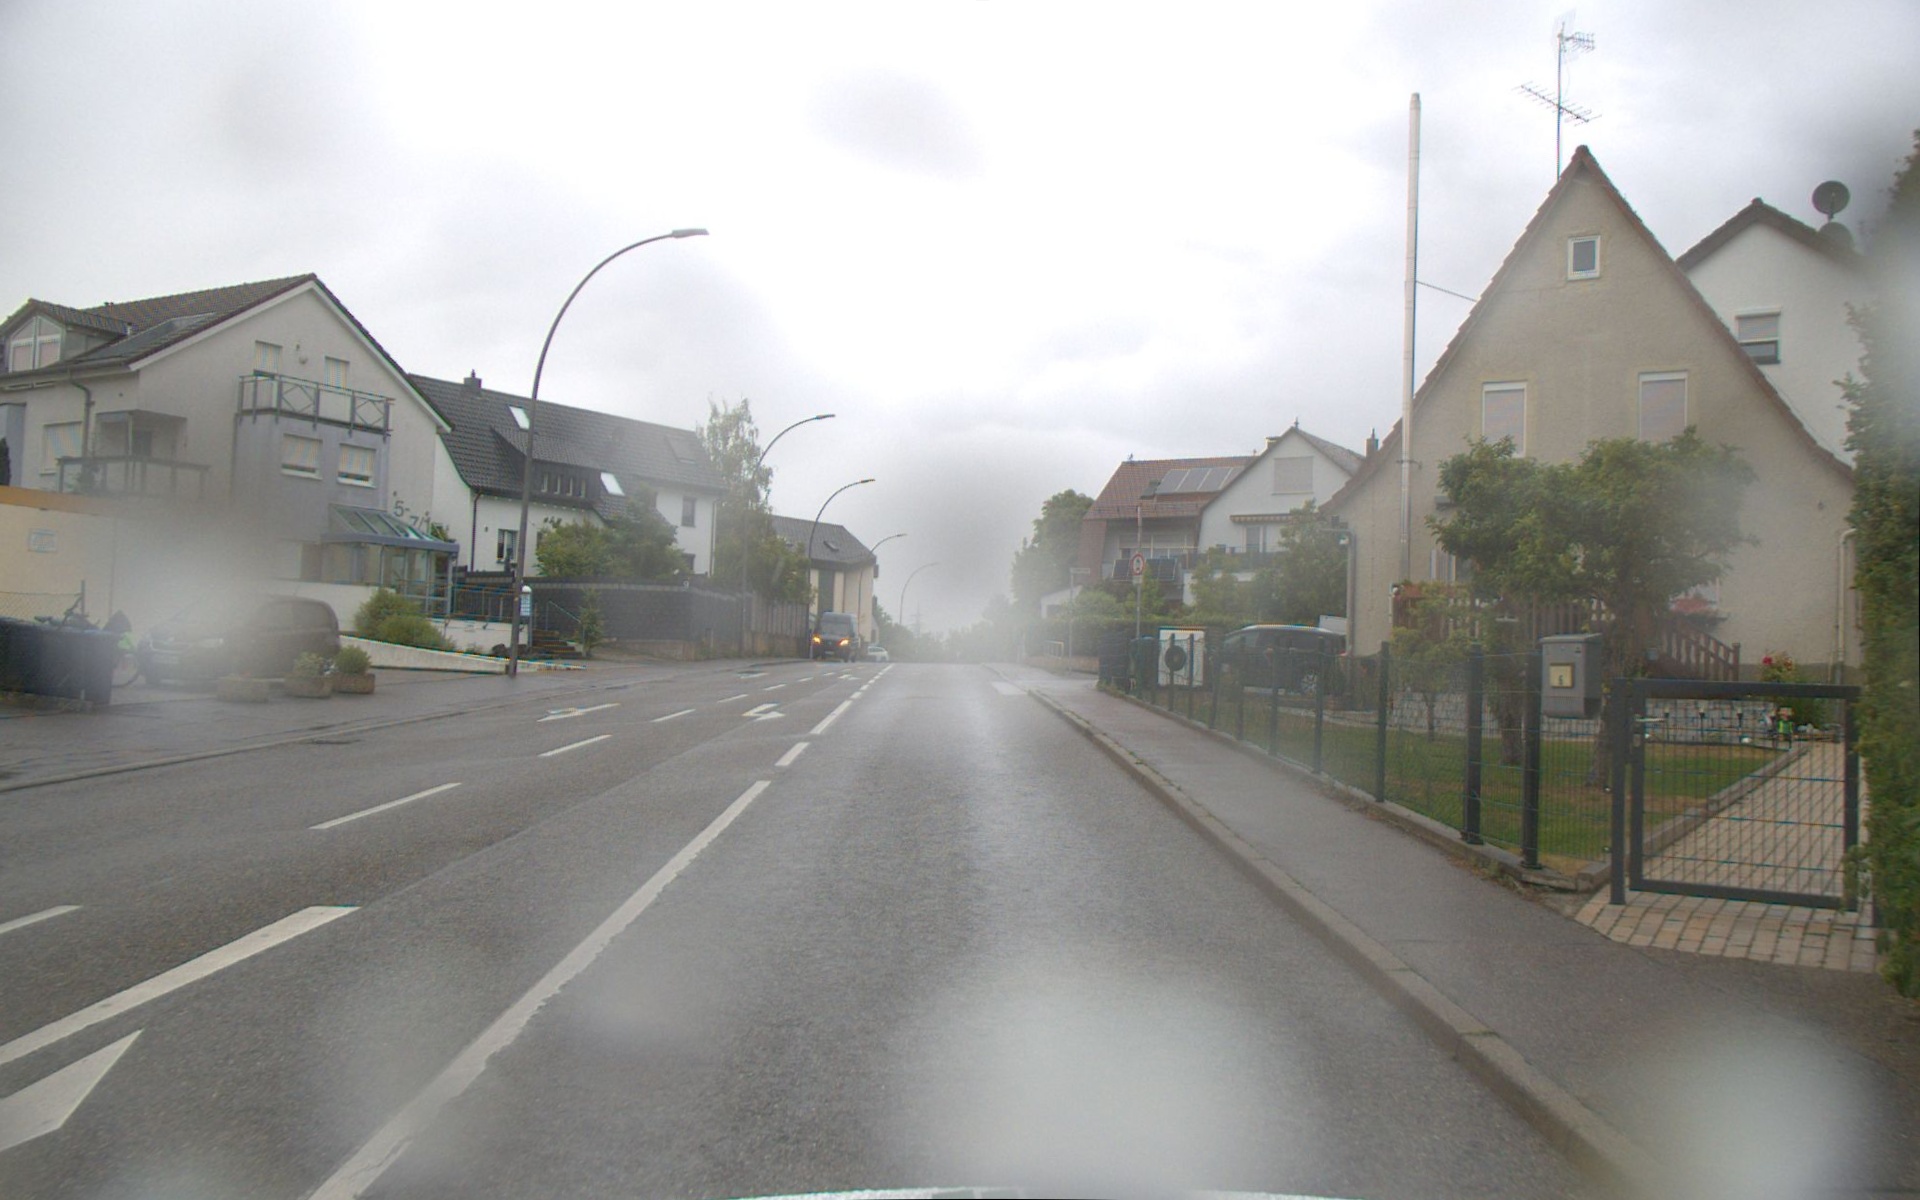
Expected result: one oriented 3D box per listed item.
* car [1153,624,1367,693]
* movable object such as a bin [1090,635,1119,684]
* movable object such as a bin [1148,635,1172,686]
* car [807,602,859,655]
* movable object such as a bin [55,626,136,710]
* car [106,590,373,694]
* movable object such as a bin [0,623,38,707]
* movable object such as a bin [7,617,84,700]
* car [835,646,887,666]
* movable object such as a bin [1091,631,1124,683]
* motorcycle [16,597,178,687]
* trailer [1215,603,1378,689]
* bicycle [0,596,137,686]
[{"bbox_3d":[6.669,1.275,36.657,4.461,1.408,2.001,0,0,17],"label":"car"},{"bbox_3d":[3.127,1.286,35.740,0.614,1.039,0.541,0,-1,4],"label":"movable object such as a bin"},{"bbox_3d":[4.107,1.241,33.951,0.433,1.039,0.525,0,-1,11],"label":"movable object such as a bin"},{"bbox_3d":[-6.972,1.619,91.496,2.051,2.695,5.919,3,-2,2],"label":"car"},{"bbox_3d":[-11.082,0.865,21.217,0.624,1.050,0.674,0,-1,13],"label":"movable object such as a bin"},{"bbox_3d":[-11.544,0.645,26.780,1.862,1.467,3.830,3,0,17],"label":"car"},{"bbox_3d":[-12.650,0.846,21.752,0.624,1.050,0.605,3,0,13],"label":"movable object such as a bin"},{"bbox_3d":[-11.827,0.753,21.401,0.624,1.050,0.605,0,-1,13],"label":"movable object such as a bin"},{"bbox_3d":[-8.567,4.862,143.352,1.869,1.503,4.862,1,-2,36],"label":"car"},{"bbox_3d":[3.009,1.165,33.797,0.518,1.039,0.733,0,-1,18],"label":"movable object such as a bin"},{"bbox_3d":[-12.750,0.621,24.435,2.066,1.133,0.780,5,-1,16],"label":"motorcycle"},{"bbox_3d":[8.055,1.091,39.692,3.396,1.830,1.681,3,-2,37],"label":"trailer"},{"bbox_3d":[-12.968,0.580,23.707,2.054,1.133,0.737,4,-2,16],"label":"bicycle"}]
